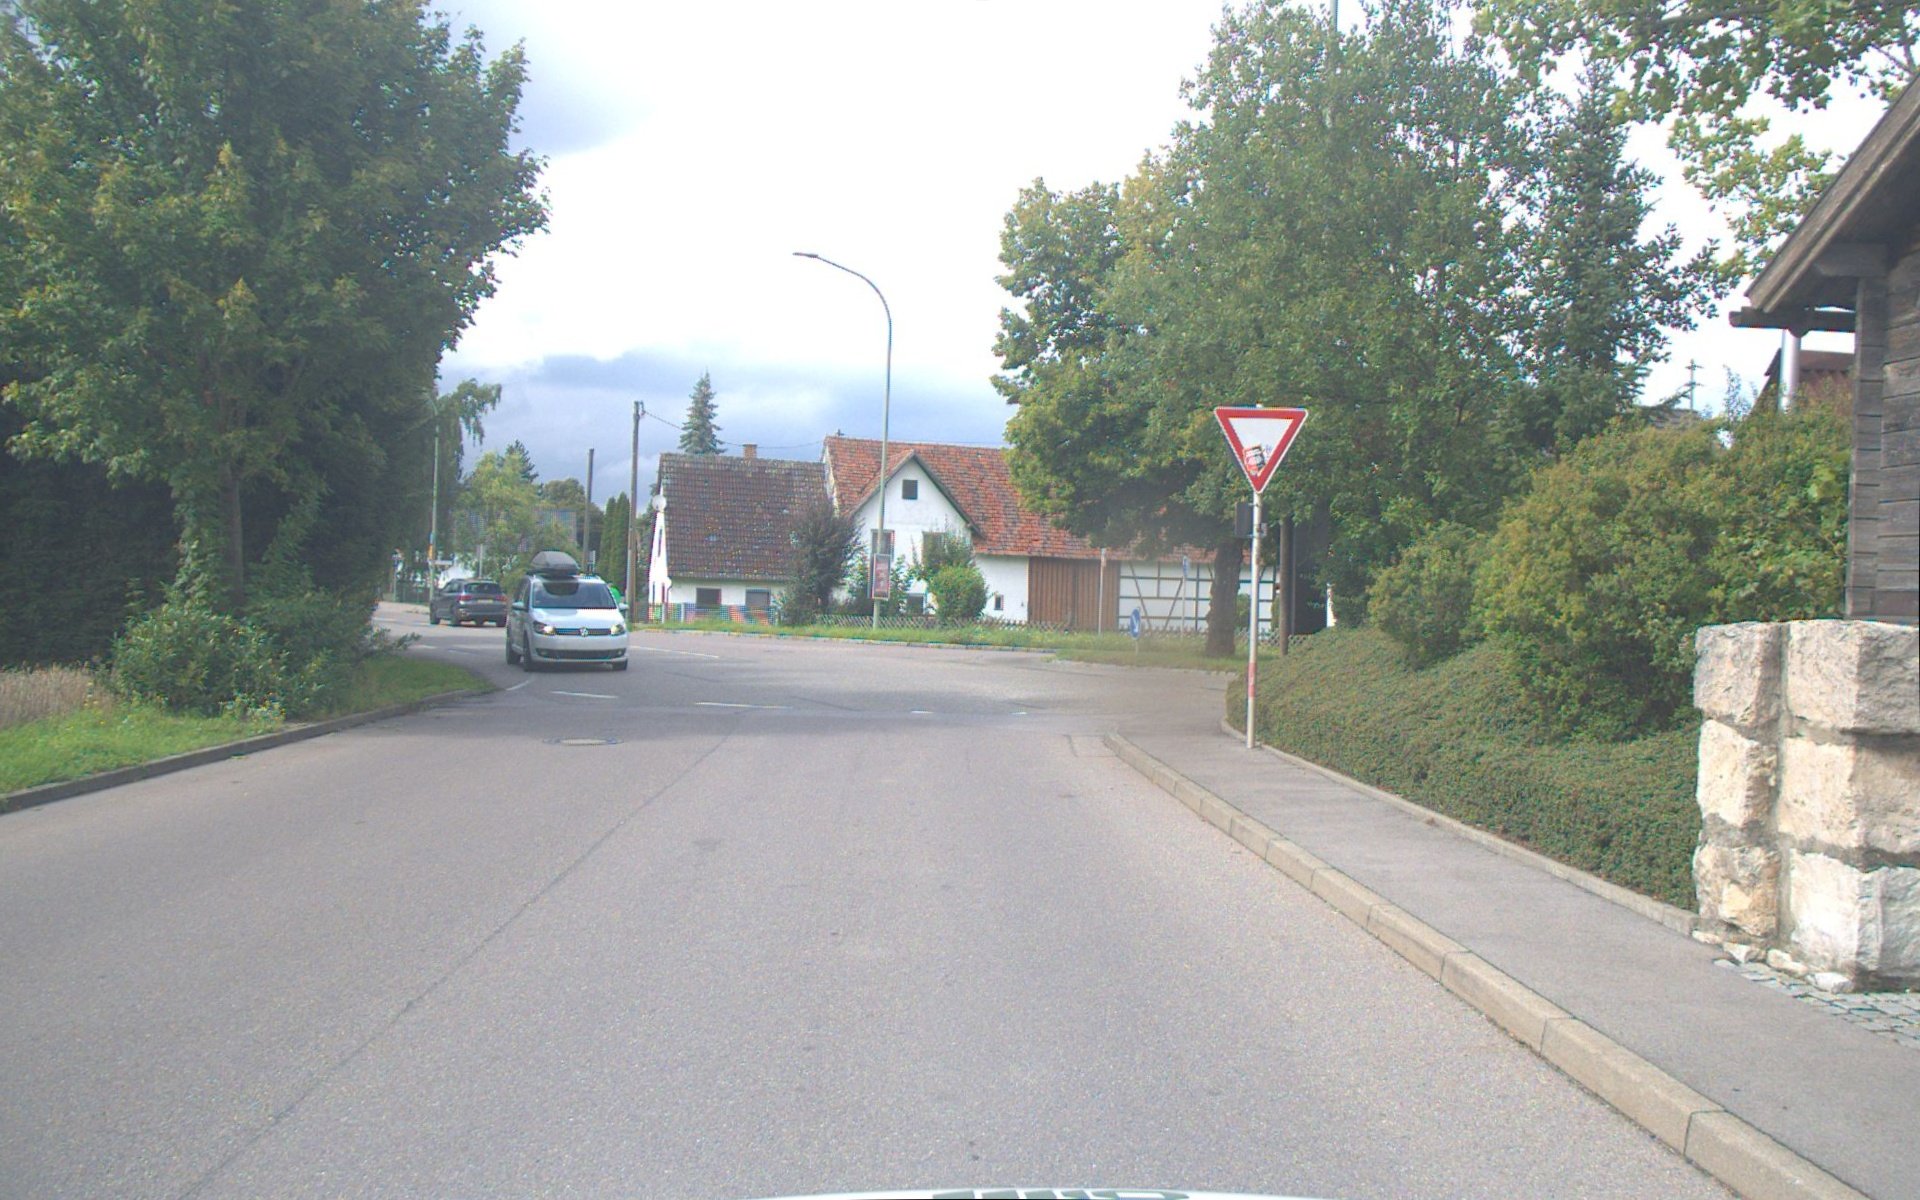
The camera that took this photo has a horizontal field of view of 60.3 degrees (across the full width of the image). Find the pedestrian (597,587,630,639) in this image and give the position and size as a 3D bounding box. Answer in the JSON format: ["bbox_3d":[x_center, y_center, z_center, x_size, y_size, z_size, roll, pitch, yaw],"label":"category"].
[{"bbox_3d":[-12.065,0.454,57.607,0.782,1.694,0.704,7,-3,-35],"label":"pedestrian"}]

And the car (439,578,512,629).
[{"bbox_3d":[-16.591,0.097,56.516,1.966,1.579,3.974,2,0,-22],"label":"car"}]

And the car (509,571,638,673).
[{"bbox_3d":[-6.951,0.357,29.508,1.675,1.694,4.006,0,0,-22],"label":"car"}]

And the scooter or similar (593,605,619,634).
[{"bbox_3d":[-12.467,0.686,58.294,0.625,0.964,0.615,7,-3,-35],"label":"scooter or similar"}]
